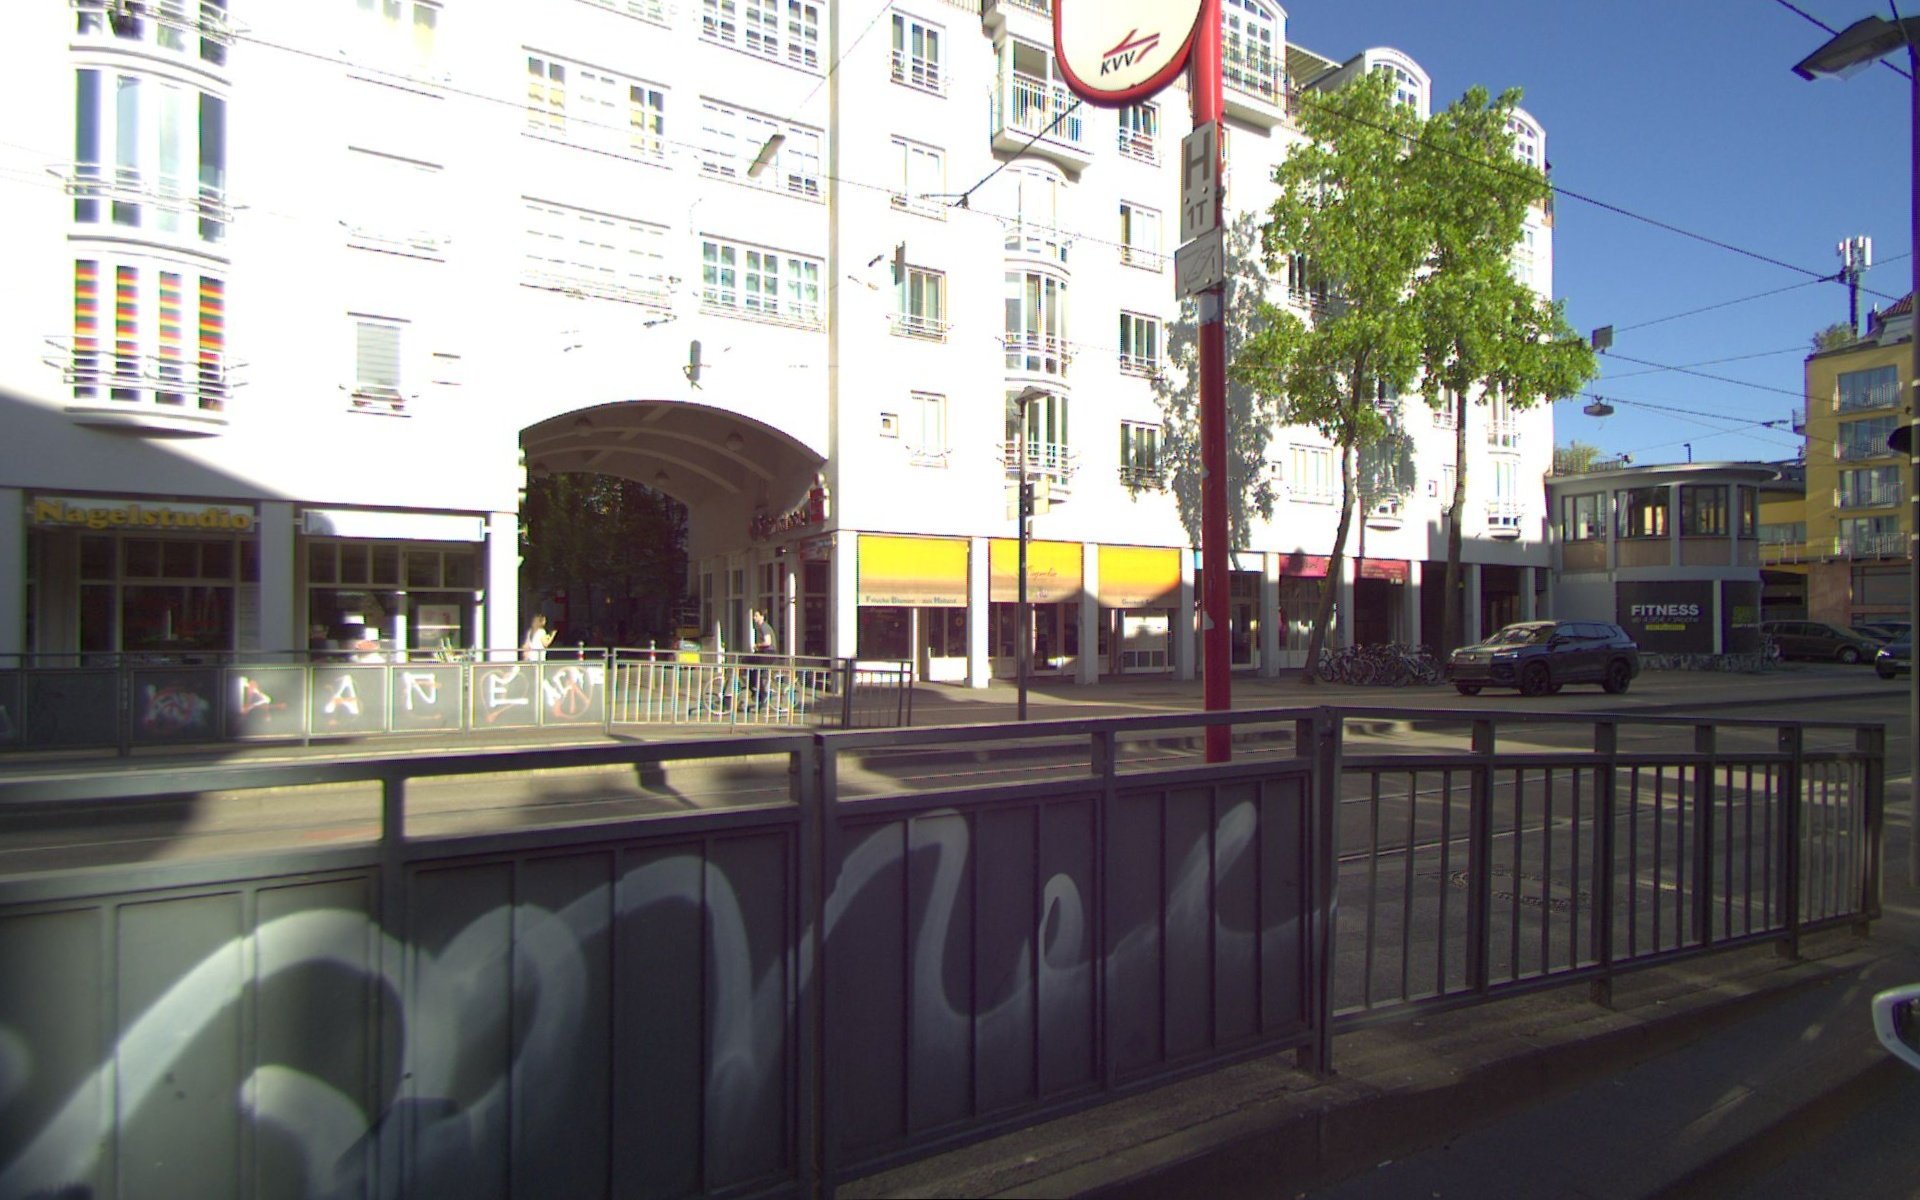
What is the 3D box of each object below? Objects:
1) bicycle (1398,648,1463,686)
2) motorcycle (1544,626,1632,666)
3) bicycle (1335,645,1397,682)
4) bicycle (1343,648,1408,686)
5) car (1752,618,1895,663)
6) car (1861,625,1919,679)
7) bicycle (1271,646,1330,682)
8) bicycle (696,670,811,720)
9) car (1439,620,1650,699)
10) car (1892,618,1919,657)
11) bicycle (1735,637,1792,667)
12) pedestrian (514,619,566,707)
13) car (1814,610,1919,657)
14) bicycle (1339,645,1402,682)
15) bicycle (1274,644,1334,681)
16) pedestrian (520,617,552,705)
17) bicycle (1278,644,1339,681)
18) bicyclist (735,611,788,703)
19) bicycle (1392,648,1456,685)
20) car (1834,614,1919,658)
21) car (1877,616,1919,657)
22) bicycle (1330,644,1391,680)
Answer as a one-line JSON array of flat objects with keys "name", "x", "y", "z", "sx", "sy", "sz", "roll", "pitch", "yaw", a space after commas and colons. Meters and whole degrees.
[{"name": "bicycle", "x": 12.193, "y": 1.738, "z": 26.060, "sx": 1.465, "sy": 0.953, "sz": 0.393, "roll": 0, "pitch": -1, "yaw": 5}, {"name": "motorcycle", "x": 21.341, "y": 1.544, "z": 34.187, "sx": 0.661, "sy": 1.305, "sz": 2.499, "roll": 1, "pitch": -1, "yaw": -32}, {"name": "bicycle", "x": 10.732, "y": 1.676, "z": 26.598, "sx": 1.465, "sy": 0.953, "sz": 0.393, "roll": 0, "pitch": -1, "yaw": 5}, {"name": "bicycle", "x": 10.643, "y": 1.724, "z": 25.747, "sx": 1.465, "sy": 0.953, "sz": 0.393, "roll": 0, "pitch": -1, "yaw": 5}, {"name": "car", "x": 34.334, "y": 1.552, "z": 40.038, "sx": 1.937, "sy": 1.697, "sz": 3.964, "roll": 1, "pitch": -1, "yaw": -33}, {"name": "car", "x": 28.481, "y": 1.493, "z": 29.338, "sx": 3.950, "sy": 1.505, "sz": 1.944, "roll": 1, "pitch": -3, "yaw": -28}, {"name": "bicycle", "x": 9.253, "y": 1.740, "z": 27.345, "sx": 1.465, "sy": 0.953, "sz": 0.393, "roll": 0, "pitch": -1, "yaw": 5}, {"name": "bicycle", "x": -3.640, "y": 1.665, "z": 17.768, "sx": 1.914, "sy": 0.767, "sz": 0.564, "roll": 1, "pitch": -1, "yaw": -30}, {"name": "car", "x": 13.194, "y": 1.297, "z": 22.623, "sx": 4.764, "sy": 1.636, "sz": 1.747, "roll": 1, "pitch": -3, "yaw": -27}, {"name": "car", "x": 47.469, "y": 1.797, "z": 48.003, "sx": 1.937, "sy": 1.872, "sz": 3.964, "roll": 1, "pitch": -1, "yaw": -33}, {"name": "bicycle", "x": 28.996, "y": 1.851, "z": 36.219, "sx": 2.654, "sy": 1.015, "sz": 0.676, "roll": 1, "pitch": -1, "yaw": -30}, {"name": "pedestrian", "x": -8.010, "y": 1.183, "z": 19.145, "sx": 0.835, "sy": 1.643, "sz": 0.593, "roll": 1, "pitch": -1, "yaw": -30}, {"name": "car", "x": 38.837, "y": 1.388, "z": 42.349, "sx": 1.937, "sy": 1.872, "sz": 3.964, "roll": 1, "pitch": -1, "yaw": -33}, {"name": "bicycle", "x": 10.686, "y": 1.657, "z": 26.182, "sx": 1.465, "sy": 0.953, "sz": 0.393, "roll": 0, "pitch": -1, "yaw": 5}, {"name": "bicycle", "x": 9.206, "y": 1.668, "z": 26.890, "sx": 1.465, "sy": 0.953, "sz": 0.393, "roll": 0, "pitch": -1, "yaw": 5}, {"name": "pedestrian", "x": -8.259, "y": 1.181, "z": 19.561, "sx": 0.486, "sy": 1.686, "sz": 0.359, "roll": 2, "pitch": 0, "yaw": -29}, {"name": "bicycle", "x": 9.167, "y": 1.642, "z": 26.436, "sx": 1.465, "sy": 0.953, "sz": 0.393, "roll": 0, "pitch": -1, "yaw": 5}, {"name": "bicyclist", "x": -3.525, "y": 0.989, "z": 17.813, "sx": 0.768, "sy": 1.578, "sz": 0.669, "roll": 0, "pitch": -1, "yaw": -29}, {"name": "bicycle", "x": 12.247, "y": 1.743, "z": 26.519, "sx": 1.465, "sy": 0.953, "sz": 0.393, "roll": 0, "pitch": -1, "yaw": 5}, {"name": "car", "x": 41.100, "y": 1.574, "z": 43.964, "sx": 1.937, "sy": 1.872, "sz": 3.964, "roll": 1, "pitch": -1, "yaw": -33}, {"name": "car", "x": 45.046, "y": 1.662, "z": 46.141, "sx": 1.937, "sy": 1.872, "sz": 3.964, "roll": 1, "pitch": -1, "yaw": -33}, {"name": "bicycle", "x": 10.770, "y": 1.672, "z": 27.023, "sx": 1.465, "sy": 0.953, "sz": 0.393, "roll": 0, "pitch": -1, "yaw": 5}]
